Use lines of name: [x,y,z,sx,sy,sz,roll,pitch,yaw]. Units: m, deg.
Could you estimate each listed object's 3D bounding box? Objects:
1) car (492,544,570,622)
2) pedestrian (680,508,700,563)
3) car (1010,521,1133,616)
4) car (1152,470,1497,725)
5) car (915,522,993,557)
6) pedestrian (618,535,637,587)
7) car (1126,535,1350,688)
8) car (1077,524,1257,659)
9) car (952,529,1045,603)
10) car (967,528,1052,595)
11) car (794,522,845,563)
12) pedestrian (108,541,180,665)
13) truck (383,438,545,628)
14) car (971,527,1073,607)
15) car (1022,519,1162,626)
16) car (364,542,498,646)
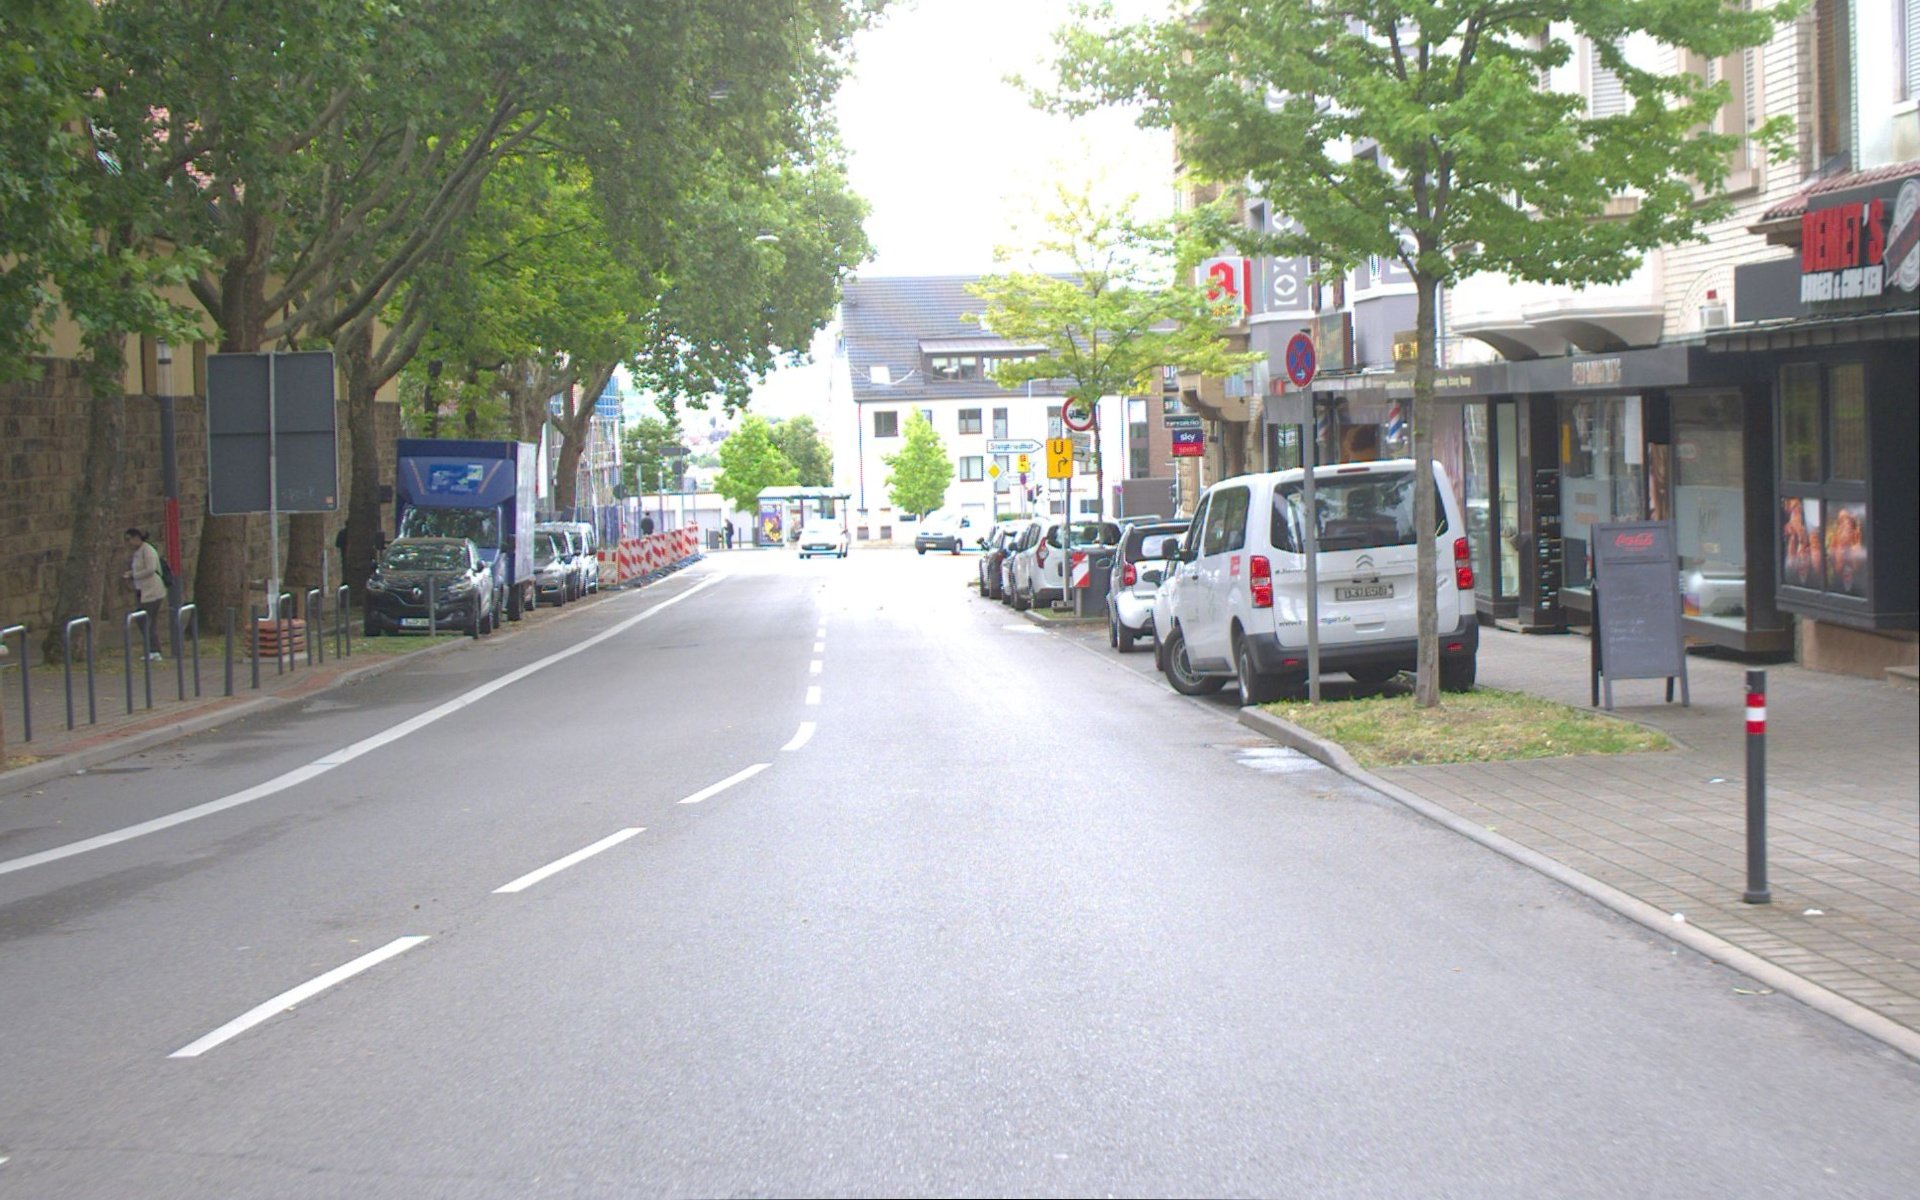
car: [-9.485,-0.404,76.173,1.533,1.633,3.719,-1,1,-5]
pedestrian: [-10.035,-2.408,127.916,0.633,2.007,0.784,-1,1,0]
car: [1.879,-0.557,58.872,1.668,1.542,3.757,-1,1,-5]
car: [2.967,-0.076,29.097,1.993,1.929,4.920,-1,1,-5]
car: [-0.223,-2.638,149.480,1.679,1.419,4.169,-1,1,26]
pedestrian: [-13.022,-1.526,134.522,0.633,1.988,0.784,-1,1,0]
car: [2.771,0.072,35.019,1.668,1.427,3.757,-1,1,-5]
car: [2.494,-0.138,42.283,1.668,1.542,3.757,-1,1,-5]
car: [0.813,-0.758,74.876,1.668,1.542,3.757,-1,1,-5]
car: [1.178,-0.952,82.758,1.668,1.542,3.757,-1,1,-5]
car: [-5.310,-2.177,130.383,1.864,1.484,3.880,-1,1,-1]
pedestrian: [-10.304,0.032,43.400,0.672,1.531,0.611,-2,1,-33]
truck: [-9.256,-1.269,64.757,2.230,3.335,7.451,-1,1,-3]
car: [1.226,-0.685,69.807,1.668,1.542,3.757,-1,1,-5]
car: [1.983,-0.441,52.504,1.668,1.542,3.757,-1,1,-5]
car: [-8.483,-0.124,55.407,1.834,1.572,3.757,-1,1,-5]
